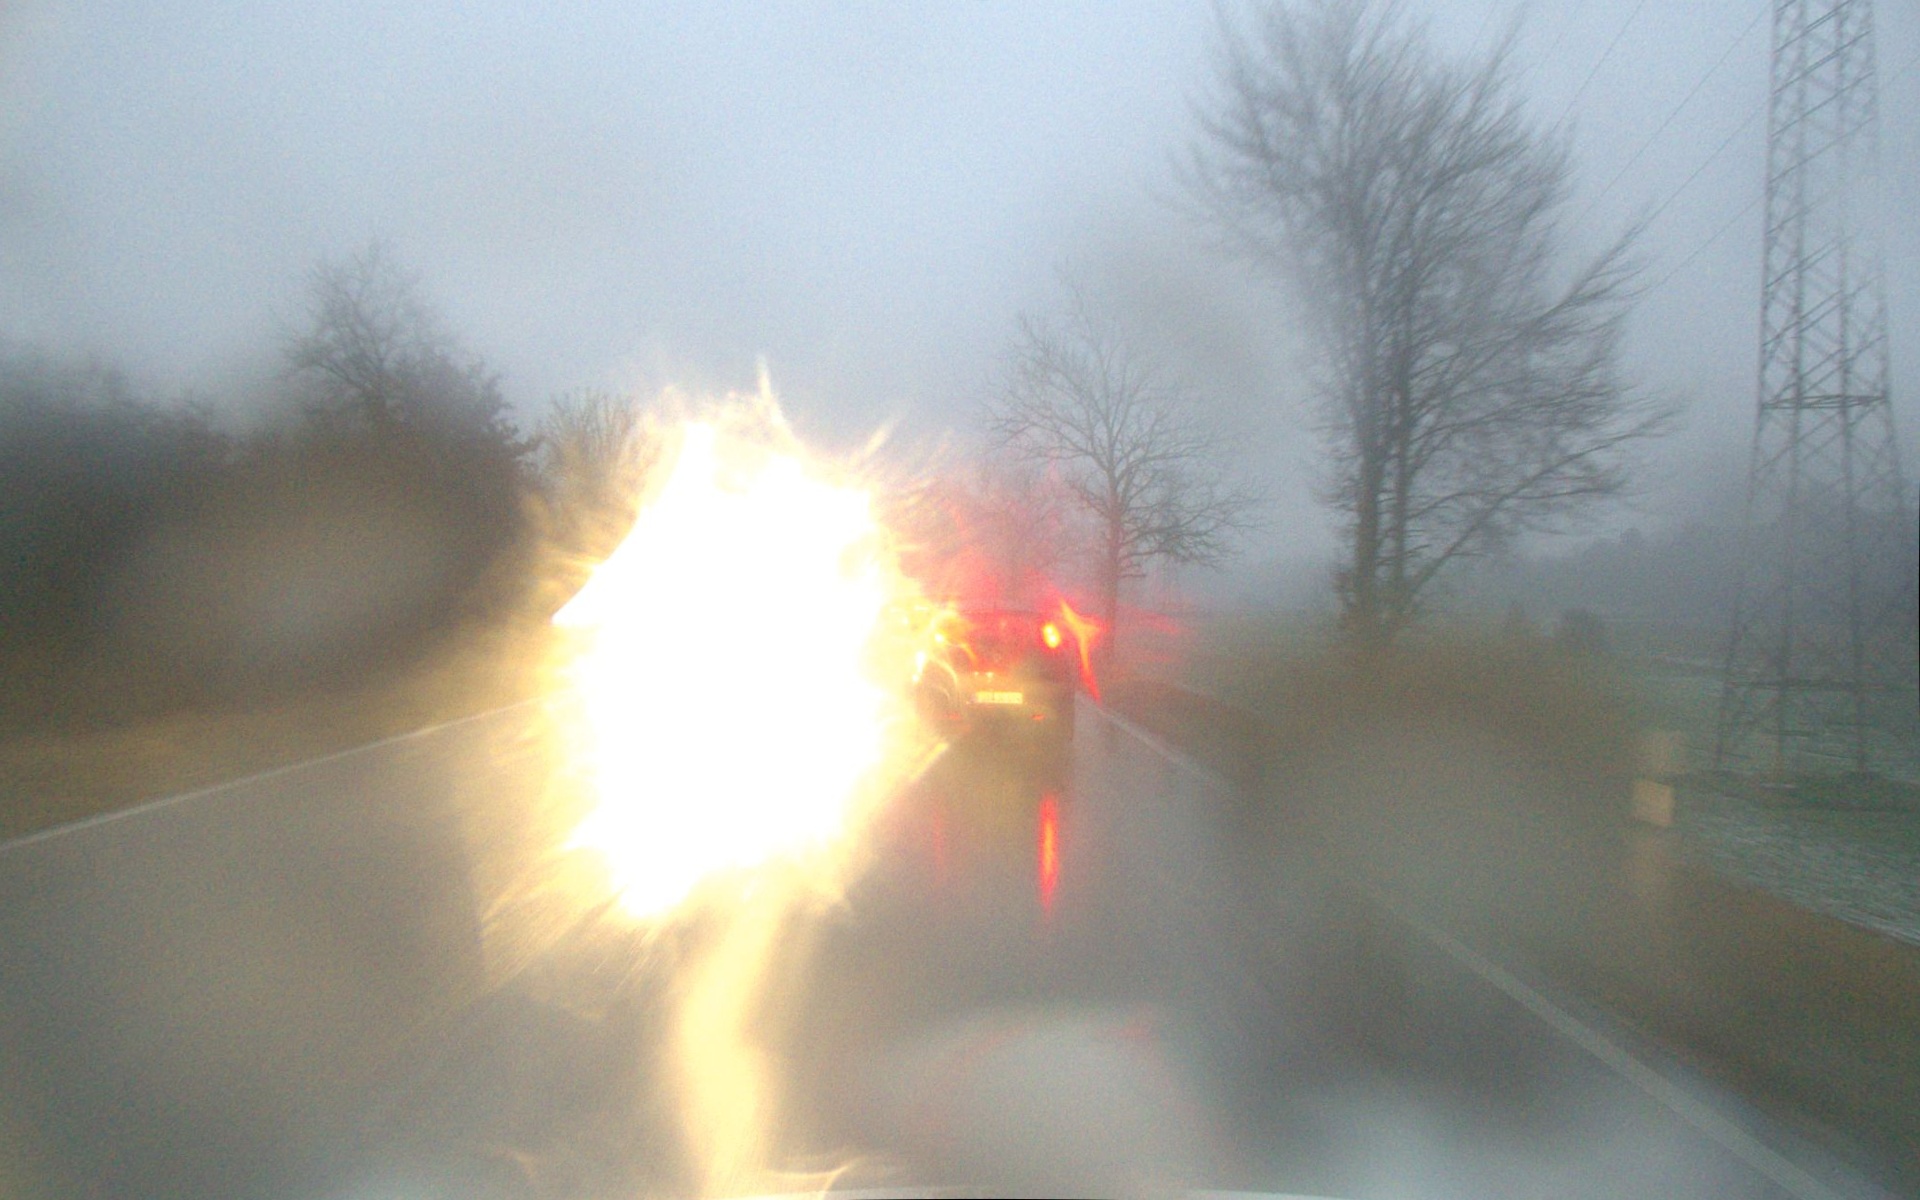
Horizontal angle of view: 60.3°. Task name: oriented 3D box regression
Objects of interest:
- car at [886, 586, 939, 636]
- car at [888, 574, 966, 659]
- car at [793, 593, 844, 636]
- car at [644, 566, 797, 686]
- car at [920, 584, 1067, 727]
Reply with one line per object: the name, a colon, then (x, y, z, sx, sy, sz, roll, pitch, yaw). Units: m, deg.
car: (-1.700, 0.363, 60.337, 1.825, 1.729, 4.467, 1, 1, -1)
car: (-0.800, 0.405, 42.435, 1.814, 2.049, 4.001, 1, 0, 1)
car: (-5.167, 0.507, 60.667, 1.622, 1.512, 3.668, 1, 0, -2)
car: (-3.724, 0.361, 26.454, 1.825, 1.729, 4.467, 1, 1, -1)
car: (0.372, 0.562, 18.414, 1.469, 1.423, 3.200, 1, 0, 1)
